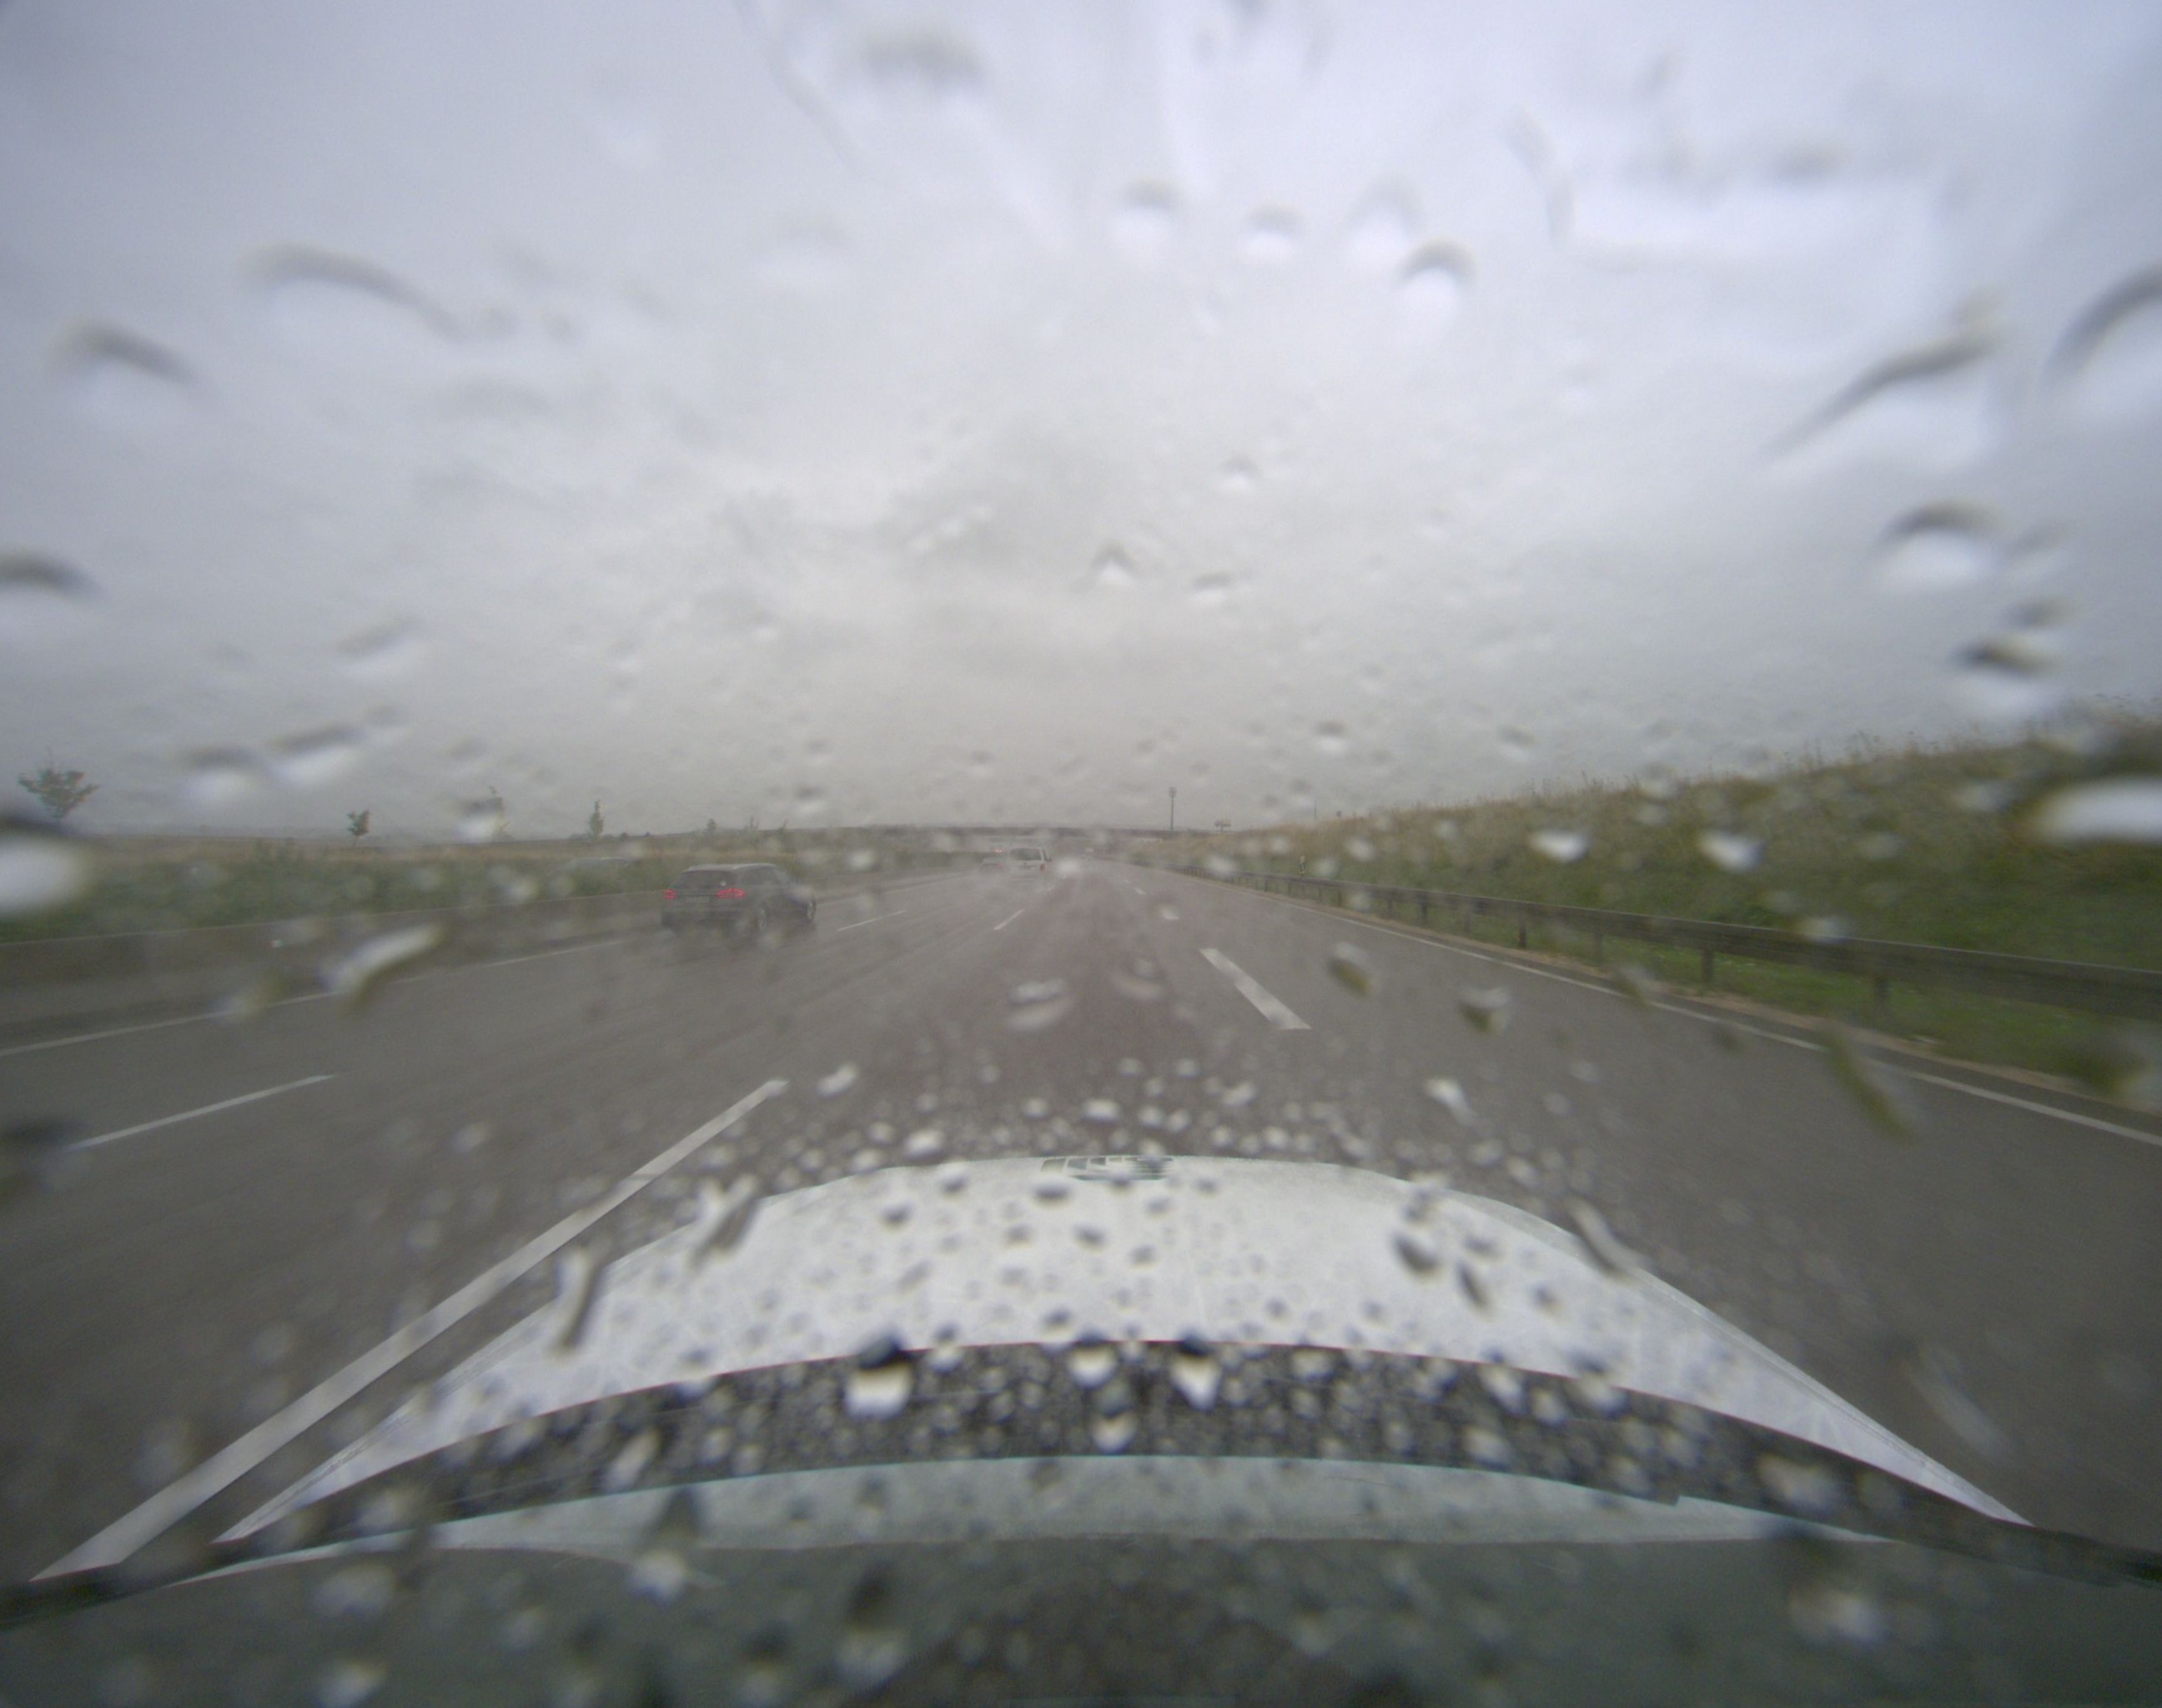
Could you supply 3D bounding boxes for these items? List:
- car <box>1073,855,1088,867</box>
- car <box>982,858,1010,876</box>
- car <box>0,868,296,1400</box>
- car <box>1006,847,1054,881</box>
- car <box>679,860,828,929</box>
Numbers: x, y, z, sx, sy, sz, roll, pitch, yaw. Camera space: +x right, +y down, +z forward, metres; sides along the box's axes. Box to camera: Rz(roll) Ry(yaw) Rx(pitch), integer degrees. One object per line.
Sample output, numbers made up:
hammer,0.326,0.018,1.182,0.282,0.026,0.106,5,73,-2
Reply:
car,-0.052,0.690,81.928,1.464,1.208,2.989,-1,0,-2
car,-6.182,0.911,59.574,1.461,1.257,3.343,-1,0,4
car,-4.115,0.819,0.839,1.838,1.513,4.760,0,0,3
car,-2.439,0.456,39.763,1.890,1.585,4.003,0,0,2
car,-7.311,0.848,18.627,1.606,1.354,4.003,-1,0,3
